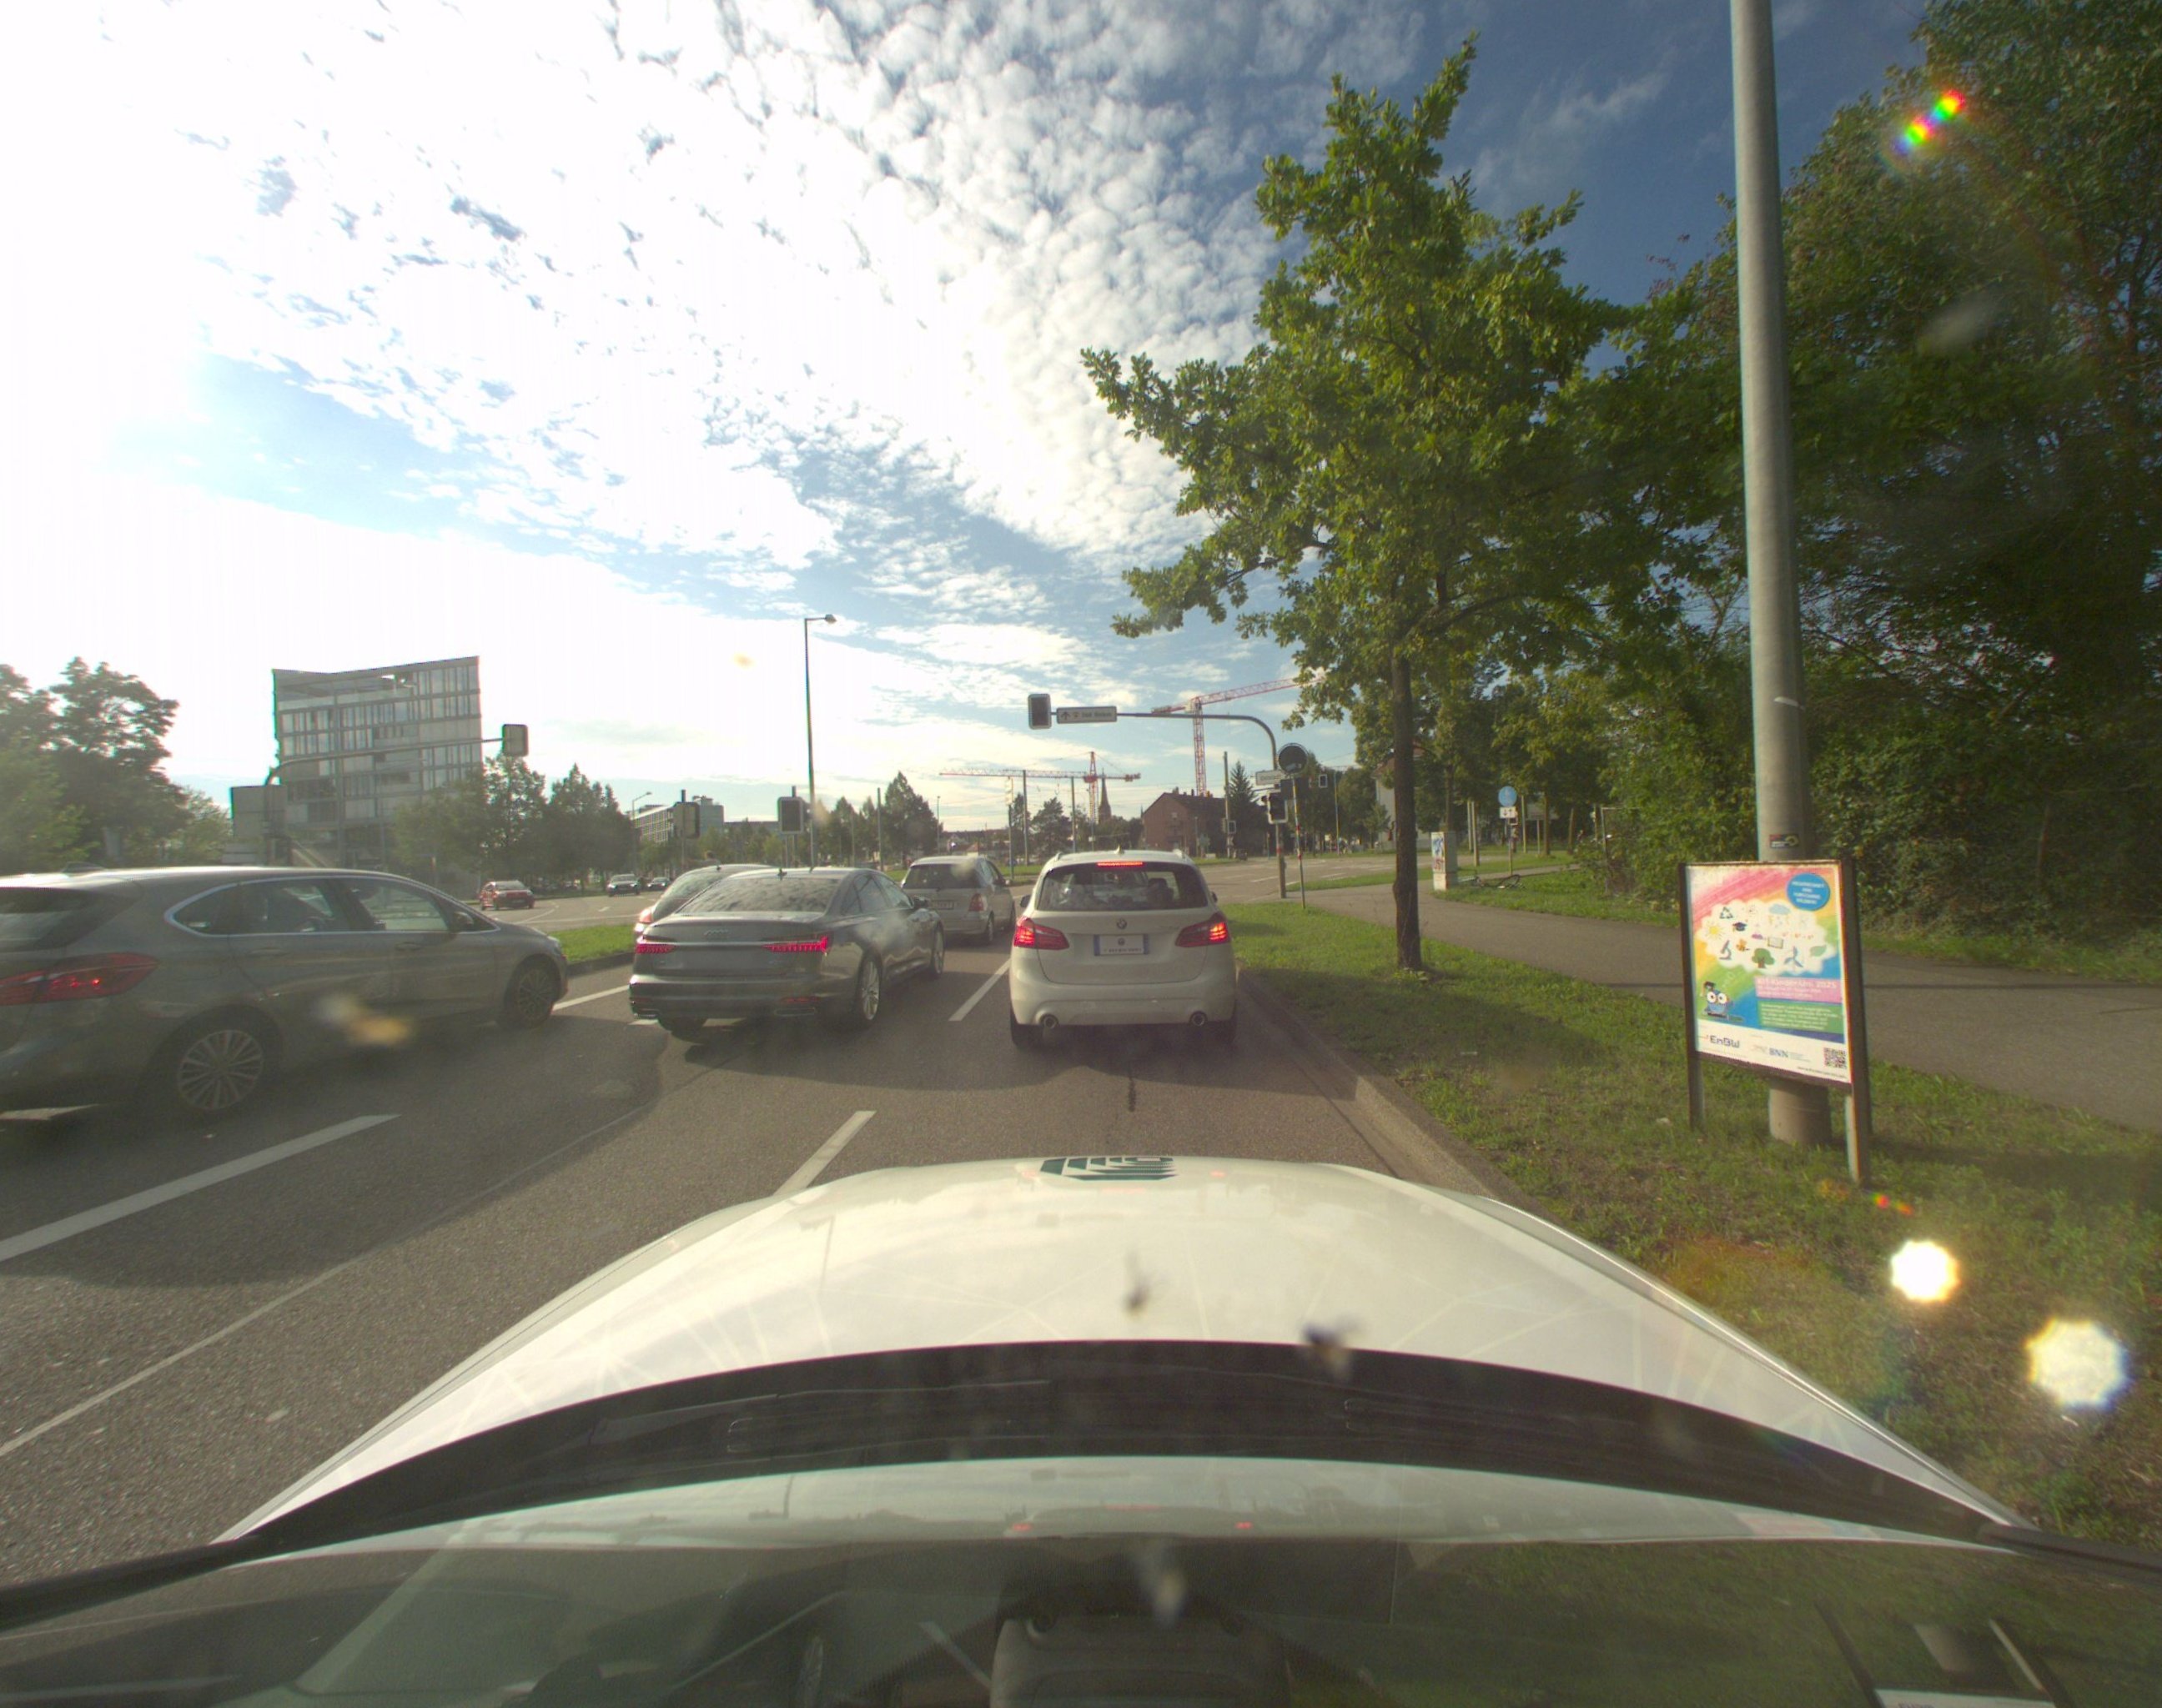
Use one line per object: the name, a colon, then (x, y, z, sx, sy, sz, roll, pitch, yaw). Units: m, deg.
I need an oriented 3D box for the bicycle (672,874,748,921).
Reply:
bicycle: (-10.022, 1.151, 22.054, 1.728, 1.163, 0.652, -2, -1, -15)

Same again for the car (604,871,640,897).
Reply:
car: (-30.074, 1.939, 53.453, 1.715, 1.574, 3.966, -2, 0, -25)

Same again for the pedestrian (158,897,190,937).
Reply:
pedestrian: (-37.527, 2.612, 33.705, 0.650, 1.569, 0.617, -3, -1, 11)

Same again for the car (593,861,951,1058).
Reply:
car: (-2.764, 0.834, 8.602, 1.883, 1.483, 4.614, -1, -1, 2)

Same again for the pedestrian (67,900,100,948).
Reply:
pedestrian: (-34.349, 2.408, 28.060, 0.573, 1.581, 0.596, 1, -2, 45)

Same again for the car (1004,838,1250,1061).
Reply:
car: (0.388, 0.681, 7.843, 1.723, 1.558, 4.059, -1, 0, 2)

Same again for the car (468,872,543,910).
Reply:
car: (-28.998, 1.859, 41.037, 3.948, 1.769, 1.722, -2, 0, 34)

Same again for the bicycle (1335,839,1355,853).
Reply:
bicycle: (31.276, -0.910, 96.671, 0.898, 1.530, 2.268, 0, -2, -28)

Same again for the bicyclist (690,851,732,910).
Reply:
bicyclist: (-10.011, 0.720, 22.072, 0.850, 1.526, 0.737, -3, -1, -15)

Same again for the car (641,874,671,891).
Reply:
car: (-43.239, 2.846, 82.920, 1.790, 1.575, 3.978, -3, 0, -16)

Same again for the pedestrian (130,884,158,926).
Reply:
pedestrian: (-47.511, 2.573, 41.294, 0.923, 2.013, 0.886, -3, -1, 40)

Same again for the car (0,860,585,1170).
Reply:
car: (-5.943, 0.857, 6.201, 1.722, 1.558, 4.021, -1, 0, 2)

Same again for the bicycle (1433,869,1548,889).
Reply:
bicycle: (10.466, 0.633, 20.965, 1.407, 0.385, 2.568, -3, 0, -9)

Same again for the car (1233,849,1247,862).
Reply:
car: (20.505, 0.128, 104.919, 1.558, 1.574, 3.210, -3, 0, 14)

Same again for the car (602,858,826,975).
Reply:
car: (-5.484, 0.837, 12.736, 1.674, 1.523, 3.811, -1, 0, 1)

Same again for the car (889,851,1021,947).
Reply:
car: (-2.244, 0.752, 15.599, 1.722, 1.558, 4.060, -1, 0, 2)
